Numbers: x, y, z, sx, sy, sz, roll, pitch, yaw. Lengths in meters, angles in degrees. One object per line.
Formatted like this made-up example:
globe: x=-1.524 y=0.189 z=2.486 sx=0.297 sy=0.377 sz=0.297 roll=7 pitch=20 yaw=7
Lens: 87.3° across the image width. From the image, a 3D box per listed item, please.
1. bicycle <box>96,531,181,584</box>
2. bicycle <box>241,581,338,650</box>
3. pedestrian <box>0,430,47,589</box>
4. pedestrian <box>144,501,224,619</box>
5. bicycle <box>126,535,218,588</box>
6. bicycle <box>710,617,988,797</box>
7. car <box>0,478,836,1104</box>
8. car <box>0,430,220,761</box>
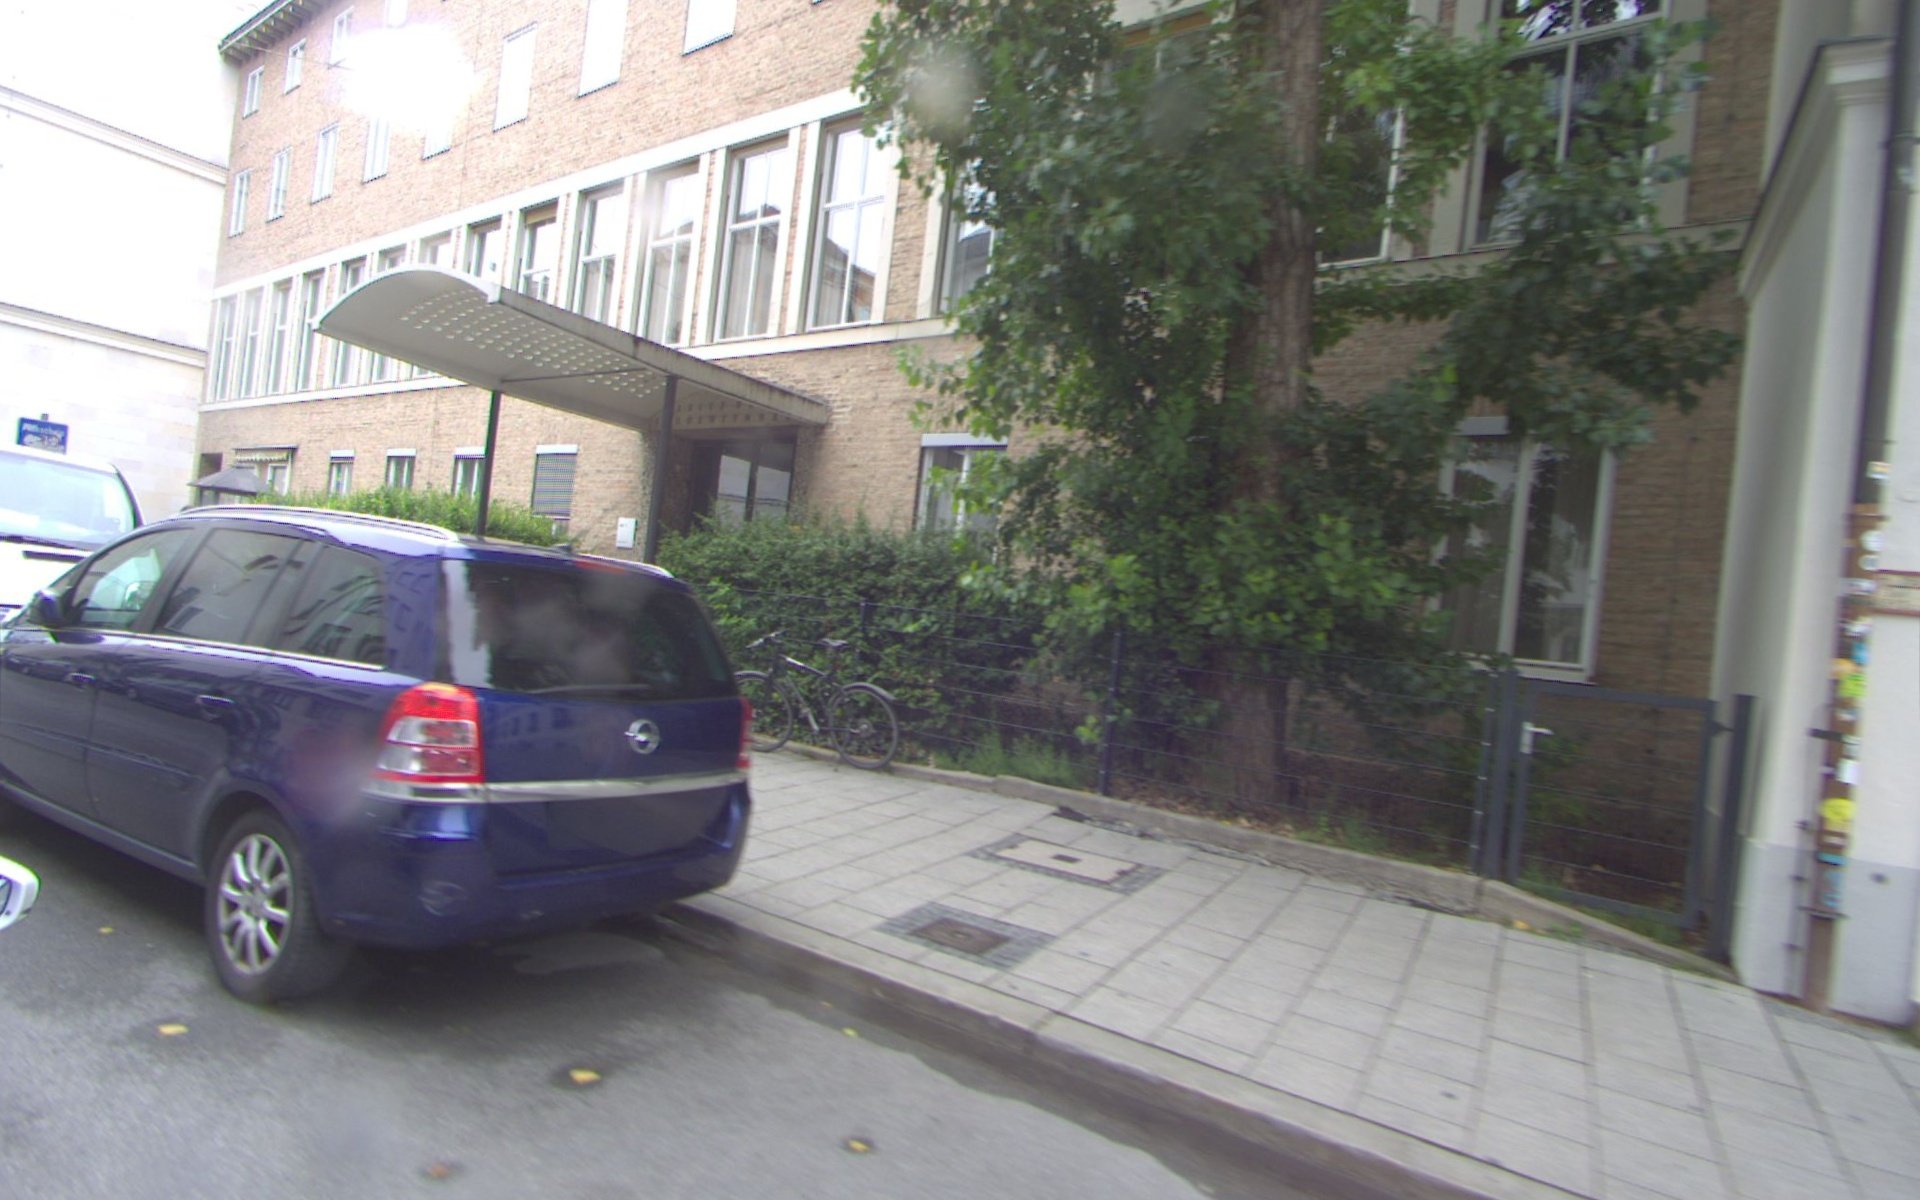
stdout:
bicycle: x=-19.140 y=-0.977 z=23.457 sx=0.343 sy=1.055 sz=1.429 roll=7 pitch=0 yaw=35
bicycle: x=-9.767 y=0.217 z=14.645 sx=1.409 sy=0.827 sz=0.517 roll=7 pitch=0 yaw=29
pedestrian: x=-14.035 y=-1.340 z=14.574 sx=0.800 sy=2.223 sz=0.795 roll=7 pitch=-1 yaw=31
pedestrian: x=-11.737 y=-0.606 z=15.213 sx=0.863 sy=1.652 sz=0.588 roll=7 pitch=-1 yaw=37
bicycle: x=-18.802 y=-0.904 z=24.027 sx=0.343 sy=1.055 sz=1.627 roll=7 pitch=0 yaw=41
bicycle: x=-0.940 y=0.809 z=8.125 sx=2.187 sy=1.087 sz=0.671 roll=6 pitch=0 yaw=32
car: x=-2.854 y=0.460 z=4.585 sx=4.143 sy=1.619 sz=1.812 roll=6 pitch=-1 yaw=29
car: x=-7.581 y=-0.223 z=7.335 sx=4.796 sy=1.947 sz=1.884 roll=6 pitch=-1 yaw=34
